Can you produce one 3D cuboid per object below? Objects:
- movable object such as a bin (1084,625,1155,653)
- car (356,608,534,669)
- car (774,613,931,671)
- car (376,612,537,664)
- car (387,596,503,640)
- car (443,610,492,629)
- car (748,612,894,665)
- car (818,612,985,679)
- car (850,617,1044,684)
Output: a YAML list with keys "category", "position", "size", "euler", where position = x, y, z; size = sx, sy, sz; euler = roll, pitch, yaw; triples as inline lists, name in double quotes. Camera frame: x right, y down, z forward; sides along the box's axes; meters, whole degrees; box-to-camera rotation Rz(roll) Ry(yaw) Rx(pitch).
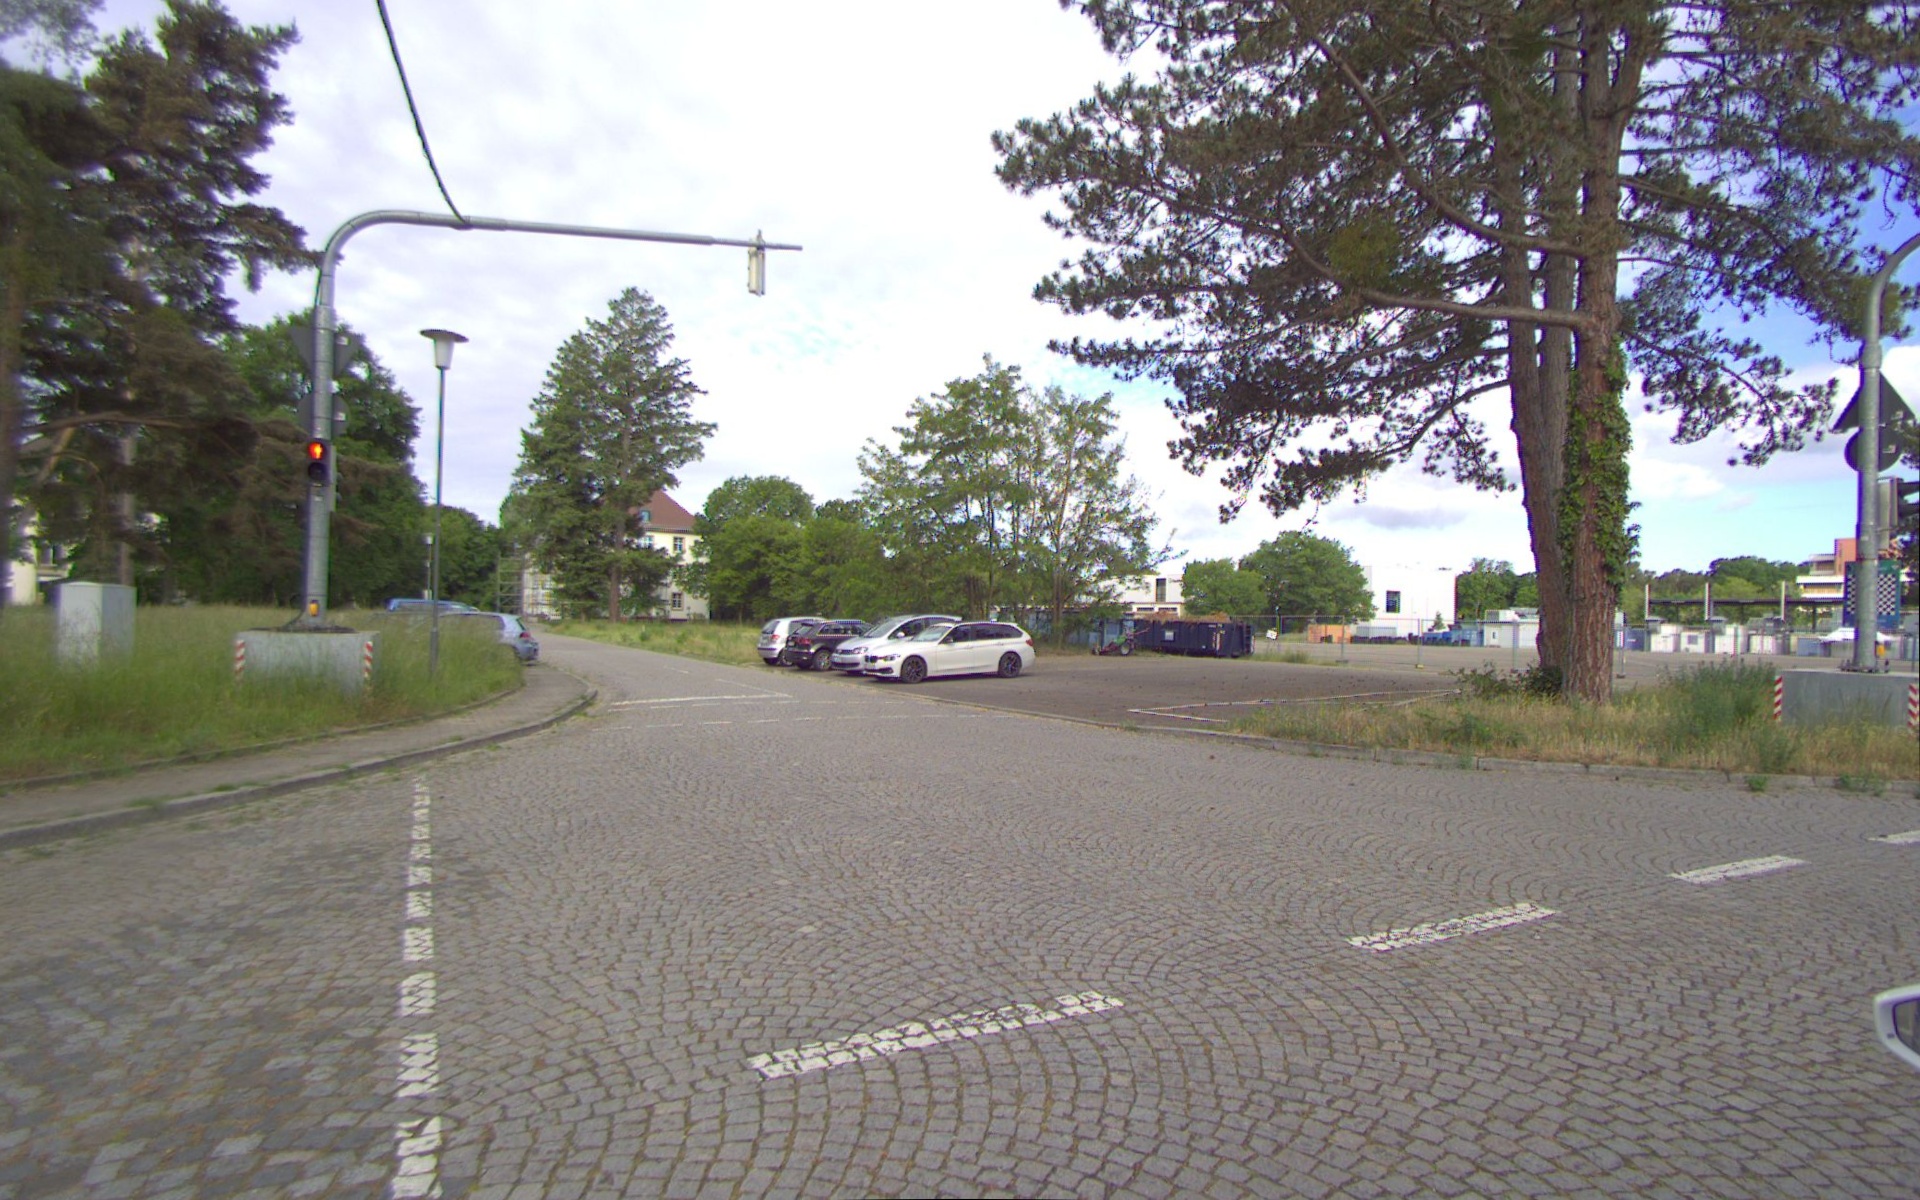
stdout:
- category: "movable object such as a bin"
  position: [6.263, 1.526, 39.358]
  size: [2.631, 1.062, 1.170]
  euler: [2, -1, -34]
- category: "car"
  position: [-13.297, 1.002, 26.029]
  size: [3.953, 1.492, 1.677]
  euler: [2, -1, -30]
- category: "car"
  position: [-3.171, 1.190, 29.798]
  size: [4.278, 1.522, 1.844]
  euler: [-1, 0, -33]
- category: "car"
  position: [-14.192, 1.072, 28.443]
  size: [3.950, 1.372, 1.678]
  euler: [2, -1, -28]
- category: "car"
  position: [-24.061, 0.855, 47.045]
  size: [4.735, 2.007, 1.983]
  euler: [1, -1, -29]
- category: "car"
  position: [-58.914, 2.326, 120.226]
  size: [5.101, 2.040, 1.985]
  euler: [2, -1, -30]
- category: "car"
  position: [-4.428, 1.244, 32.161]
  size: [4.279, 1.587, 1.783]
  euler: [2, -1, -33]
- category: "car"
  position: [-1.574, 1.185, 27.628]
  size: [4.278, 1.605, 1.811]
  euler: [-1, 0, -33]
- category: "car"
  position: [-0.291, 1.212, 25.410]
  size: [4.687, 1.461, 1.800]
  euler: [0, 0, -32]
